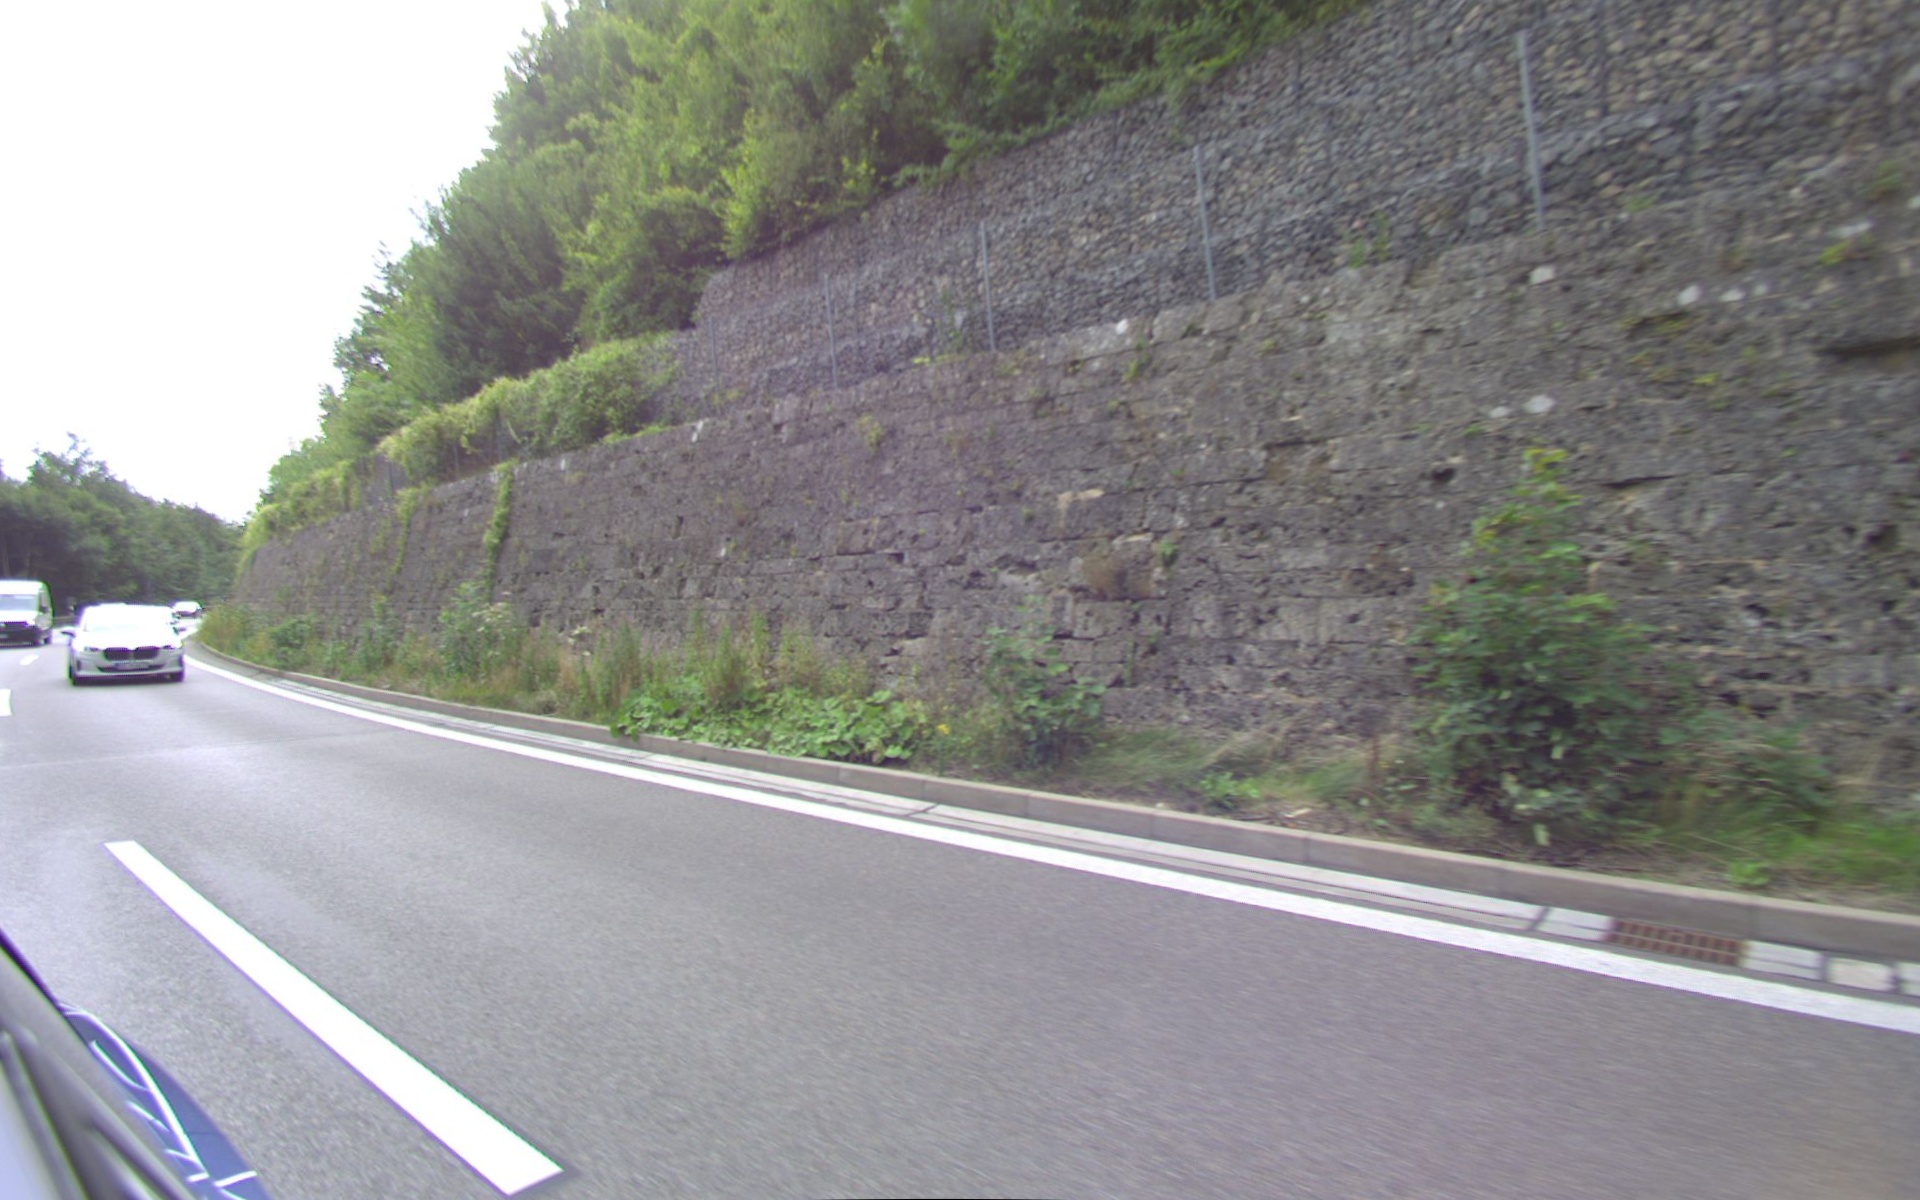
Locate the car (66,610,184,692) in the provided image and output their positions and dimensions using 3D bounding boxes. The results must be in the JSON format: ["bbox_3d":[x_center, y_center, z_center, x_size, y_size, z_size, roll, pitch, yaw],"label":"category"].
[{"bbox_3d":[-17.830,1.015,21.543,1.796,1.567,4.005,0,-1,-41],"label":"car"}]

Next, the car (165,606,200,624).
[{"bbox_3d":[-68.279,1.340,88.942,1.793,1.567,4.013,0,-1,-28],"label":"car"}]

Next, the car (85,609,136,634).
[{"bbox_3d":[-55.448,1.408,66.105,1.793,1.567,4.012,0,-1,-29],"label":"car"}]

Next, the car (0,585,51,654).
[{"bbox_3d":[-37.410,0.781,39.816,2.067,2.582,5.931,0,-1,-38],"label":"car"}]
